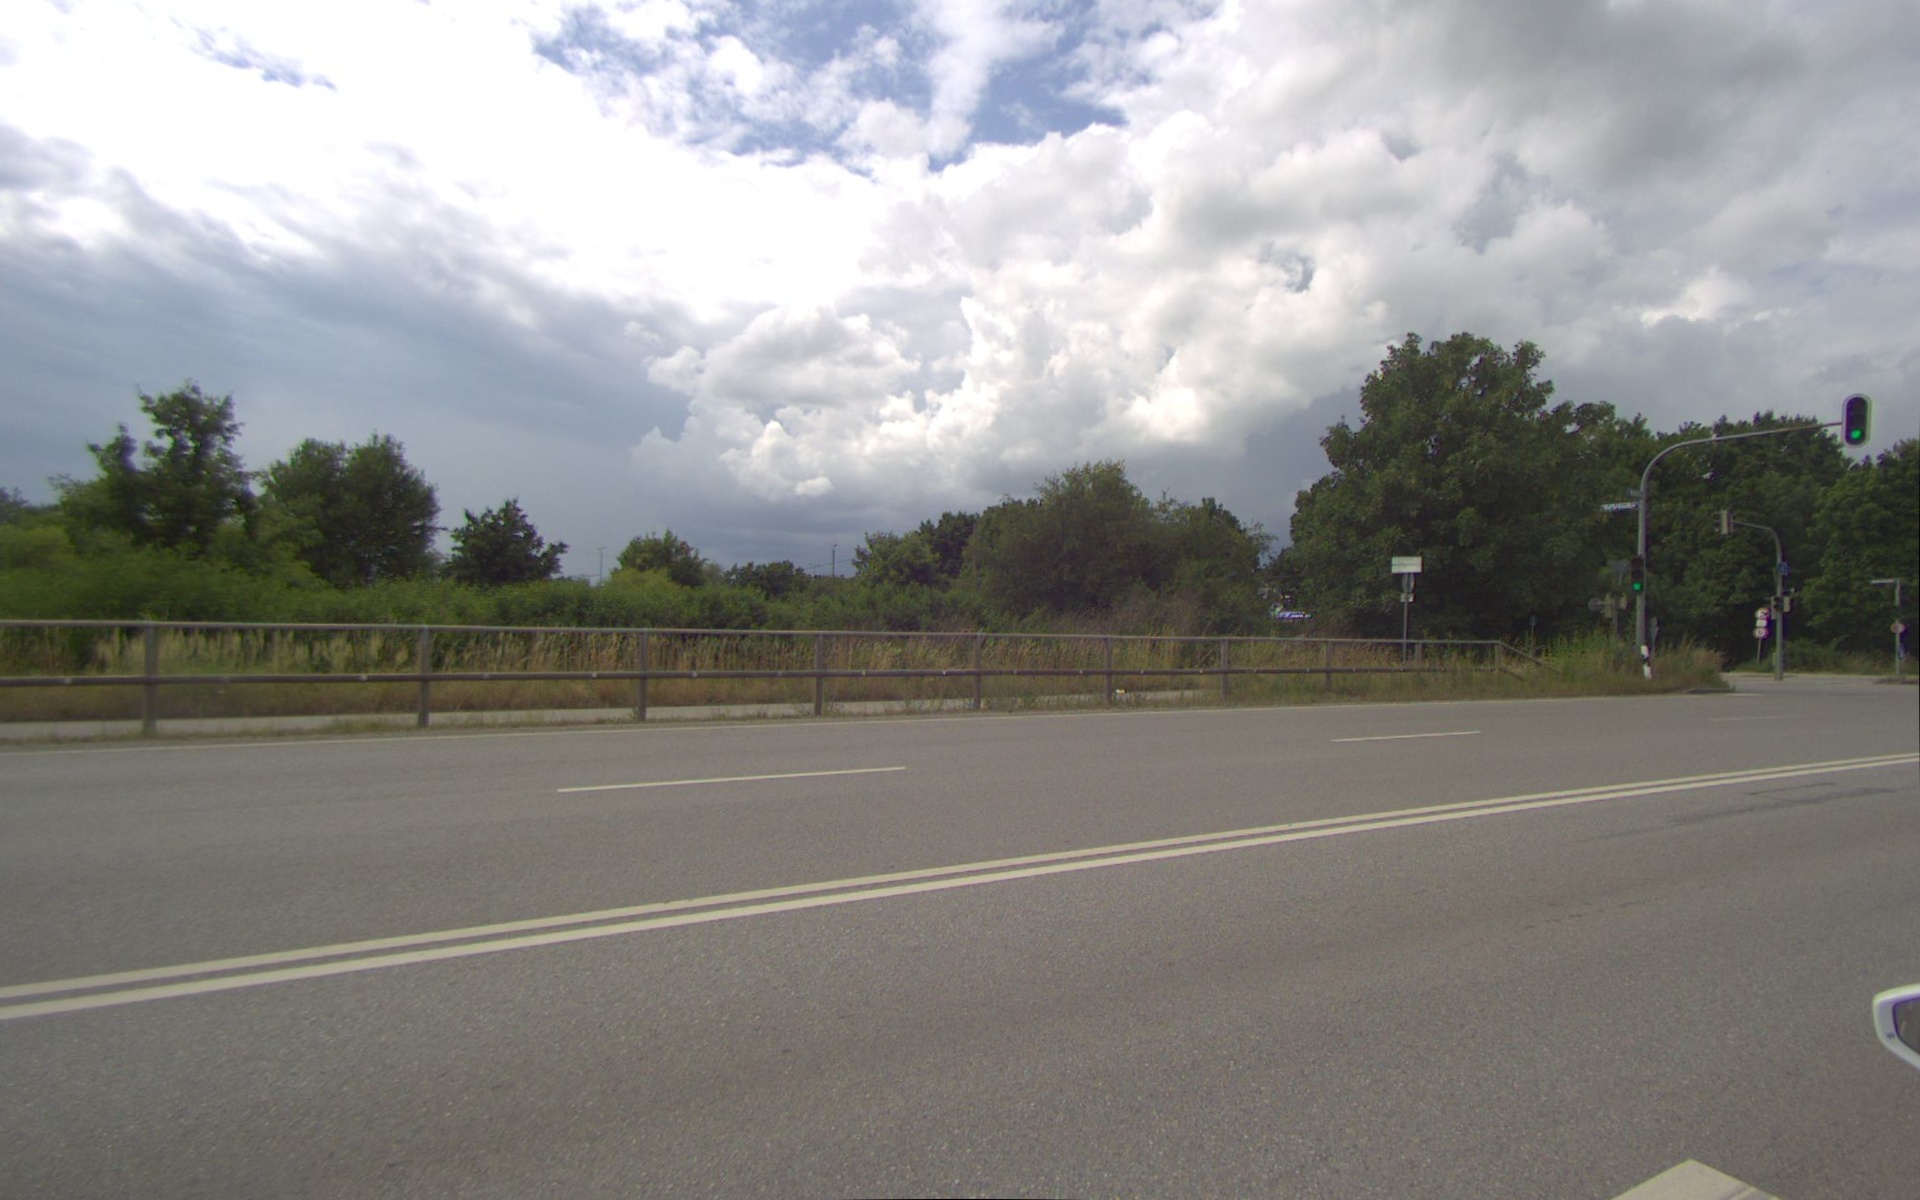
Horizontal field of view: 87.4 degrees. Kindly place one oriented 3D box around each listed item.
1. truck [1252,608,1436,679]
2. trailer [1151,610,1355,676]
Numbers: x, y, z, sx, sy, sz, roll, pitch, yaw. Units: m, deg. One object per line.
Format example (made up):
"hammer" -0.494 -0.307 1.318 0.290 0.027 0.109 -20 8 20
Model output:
"truck" 18.022 1.992 47.667 2.860 3.077 7.859 1 -1 -37
"trailer" 14.810 2.109 51.979 2.860 3.077 10.644 1 -1 -37
